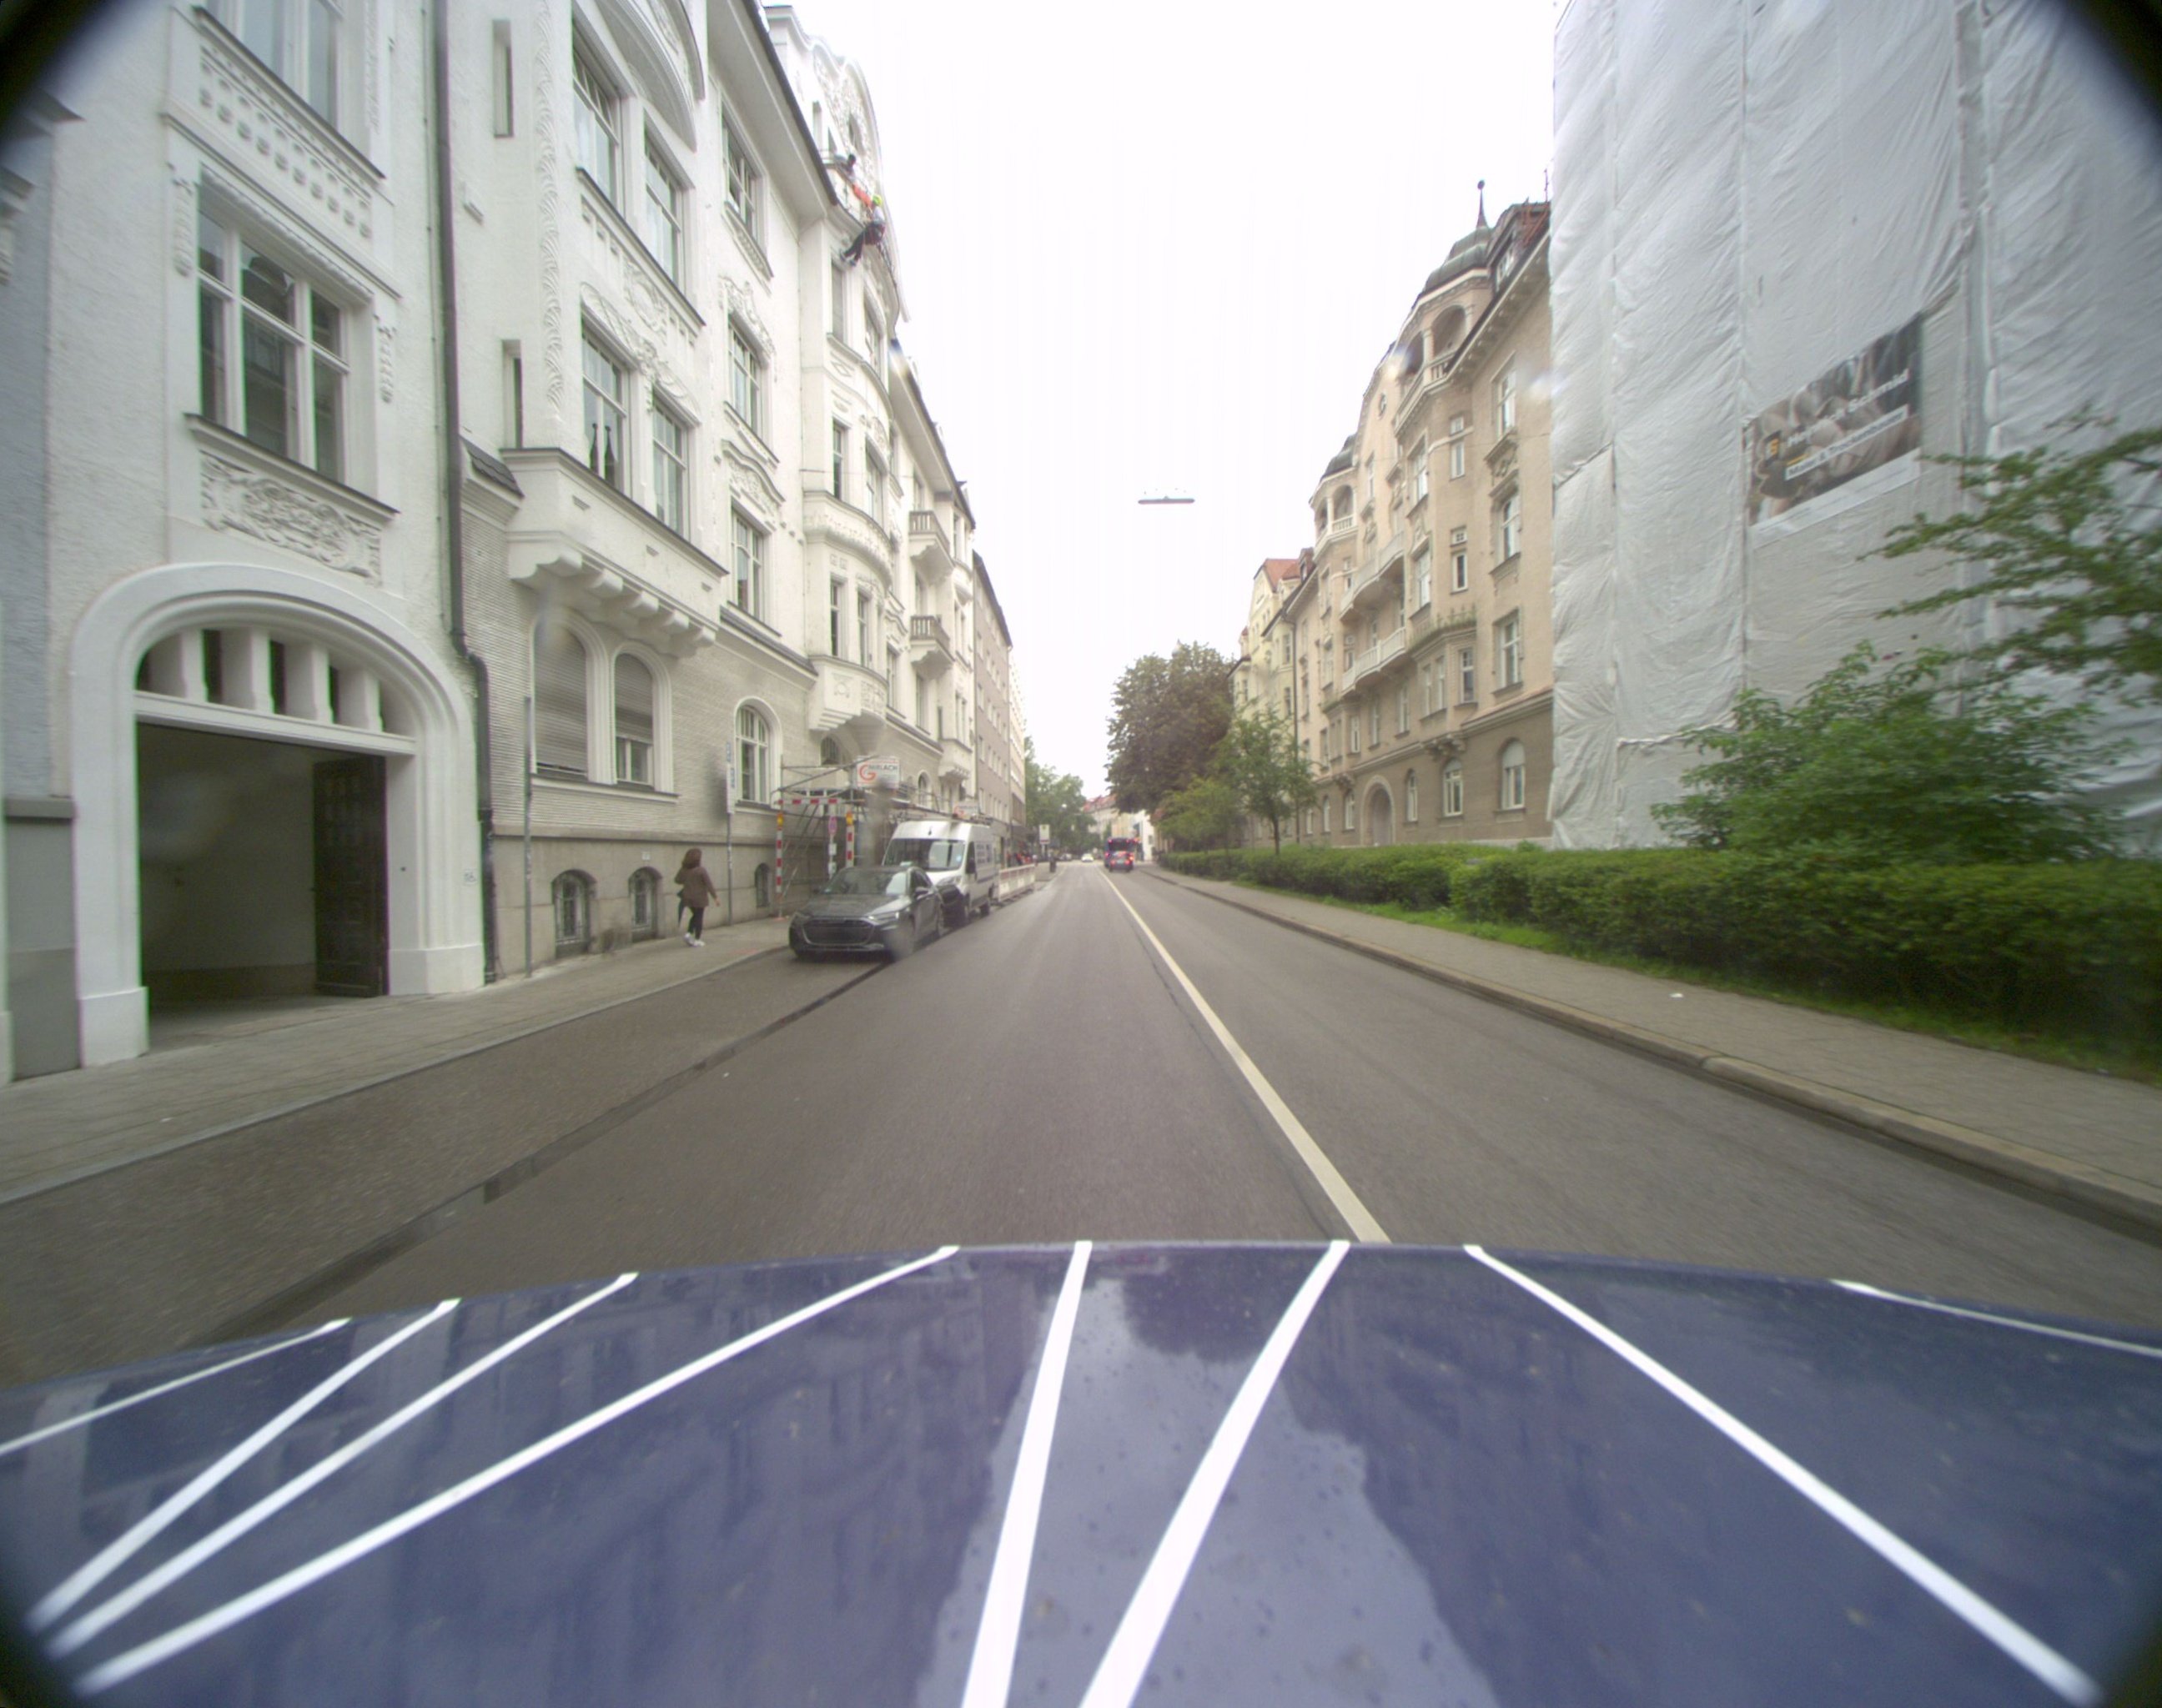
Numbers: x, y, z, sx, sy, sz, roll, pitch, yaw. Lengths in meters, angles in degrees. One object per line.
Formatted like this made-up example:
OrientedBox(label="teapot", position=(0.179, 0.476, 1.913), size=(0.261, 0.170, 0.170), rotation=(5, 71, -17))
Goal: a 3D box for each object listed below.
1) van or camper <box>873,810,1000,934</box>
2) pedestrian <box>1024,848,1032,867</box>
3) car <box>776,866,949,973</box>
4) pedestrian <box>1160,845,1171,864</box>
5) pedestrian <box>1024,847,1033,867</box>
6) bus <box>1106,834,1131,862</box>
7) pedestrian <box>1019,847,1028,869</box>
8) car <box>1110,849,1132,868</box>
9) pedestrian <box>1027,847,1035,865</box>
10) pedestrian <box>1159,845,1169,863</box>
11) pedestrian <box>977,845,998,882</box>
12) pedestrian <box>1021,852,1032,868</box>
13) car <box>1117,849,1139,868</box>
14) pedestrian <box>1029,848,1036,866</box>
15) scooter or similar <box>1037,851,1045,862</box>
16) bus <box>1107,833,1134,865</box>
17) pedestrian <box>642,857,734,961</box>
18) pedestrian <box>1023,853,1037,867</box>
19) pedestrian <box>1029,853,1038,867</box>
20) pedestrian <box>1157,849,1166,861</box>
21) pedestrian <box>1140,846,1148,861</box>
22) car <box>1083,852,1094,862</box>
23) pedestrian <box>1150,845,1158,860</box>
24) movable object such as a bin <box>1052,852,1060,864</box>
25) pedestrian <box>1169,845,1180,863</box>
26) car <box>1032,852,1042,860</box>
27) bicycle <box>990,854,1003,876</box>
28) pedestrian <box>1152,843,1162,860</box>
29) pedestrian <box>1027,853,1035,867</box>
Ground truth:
OrientedBox(label="van or camper", position=(-3.376, 0.365, 18.960), size=(1.958, 2.621, 5.458), rotation=(-1, 1, 1))
OrientedBox(label="pedestrian", position=(-4.803, 0.279, 69.214), size=(0.659, 1.723, 0.778), rotation=(-1, 1, 1))
OrientedBox(label="car", position=(-3.513, 0.979, 13.011), size=(1.758, 1.426, 4.086), rotation=(-1, 1, 0))
OrientedBox(label="pedestrian", position=(7.929, 0.056, 71.585), size=(0.910, 1.735, 0.847), rotation=(-1, 1, 0))
OrientedBox(label="pedestrian", position=(-4.689, 0.278, 67.818), size=(0.659, 1.723, 0.684), rotation=(-1, 1, 1))
OrientedBox(label="bus", position=(4.218, -0.676, 87.355), size=(2.586, 3.083, 9.107), rotation=(-1, 0, 1))
OrientedBox(label="pedestrian", position=(-4.643, 0.322, 61.327), size=(0.704, 1.723, 0.746), rotation=(-1, 1, 1))
OrientedBox(label="car", position=(3.245, 0.362, 61.940), size=(1.588, 1.471, 3.782), rotation=(-1, 0, 1))
OrientedBox(label="pedestrian", position=(-4.871, 0.195, 74.206), size=(0.659, 1.812, 0.696), rotation=(-1, 1, 1))
OrientedBox(label="pedestrian", position=(8.037, 0.024, 73.332), size=(0.875, 1.735, 0.910), rotation=(-1, 1, 0))
OrientedBox(label="pedestrian", position=(-4.865, 0.475, 39.619), size=(0.929, 1.899, 1.179), rotation=(1, 1, 0))
OrientedBox(label="pedestrian", position=(-4.603, 0.496, 64.008), size=(0.862, 1.344, 0.862), rotation=(-1, 1, 1))
OrientedBox(label="car", position=(4.191, 0.421, 68.698), size=(1.772, 1.635, 4.273), rotation=(-1, 0, 1))
OrientedBox(label="pedestrian", position=(-4.535, 0.266, 71.122), size=(0.659, 1.723, 0.696), rotation=(-1, 1, 1))
OrientedBox(label="scooter or similar", position=(-4.754, 0.329, 90.389), size=(0.563, 1.234, 1.445), rotation=(-1, 1, 11))
OrientedBox(label="bus", position=(3.989, -0.546, 78.410), size=(2.586, 3.083, 8.923), rotation=(-1, 0, 1))
OrientedBox(label="pedestrian", position=(-6.274, 0.845, 12.191), size=(0.923, 1.546, 1.016), rotation=(1, 3, 1))
OrientedBox(label="pedestrian", position=(-4.383, 0.524, 65.703), size=(1.099, 1.230, 0.668), rotation=(-1, 1, 1))
OrientedBox(label="pedestrian", position=(-4.178, 0.536, 66.742), size=(0.709, 1.230, 0.585), rotation=(-1, 1, 1))
OrientedBox(label="pedestrian", position=(8.693, 0.080, 82.007), size=(0.830, 1.333, 0.754), rotation=(-1, 1, -1))
OrientedBox(label="pedestrian", position=(8.657, -0.130, 103.956), size=(0.952, 2.002, 1.397), rotation=(-1, 1, 11))
OrientedBox(label="car", position=(1.263, 0.515, 138.241), size=(1.927, 1.608, 3.999), rotation=(-1, 1, 0))
OrientedBox(label="pedestrian", position=(9.906, -0.177, 103.634), size=(0.952, 2.002, 1.397), rotation=(-1, 1, 11))
OrientedBox(label="movable object such as a bin", position=(-2.640, 0.466, 80.368), size=(0.877, 1.243, 0.798), rotation=(-1, 1, -5))
OrientedBox(label="pedestrian", position=(9.023, -0.041, 73.454), size=(0.784, 1.735, 0.877), rotation=(0, 1, 33))
OrientedBox(label="car", position=(-8.730, 0.425, 150.140), size=(1.719, 1.543, 3.999), rotation=(-1, 0, -1))
OrientedBox(label="bicycle", position=(-5.199, 0.670, 46.591), size=(0.513, 1.253, 1.820), rotation=(3, 1, 1))
OrientedBox(label="pedestrian", position=(8.984, -0.336, 89.749), size=(0.832, 2.002, 0.778), rotation=(-2, 1, -42))
OrientedBox(label="pedestrian", position=(-4.428, 0.523, 67.248), size=(0.681, 1.230, 0.495), rotation=(-1, 1, 1))
